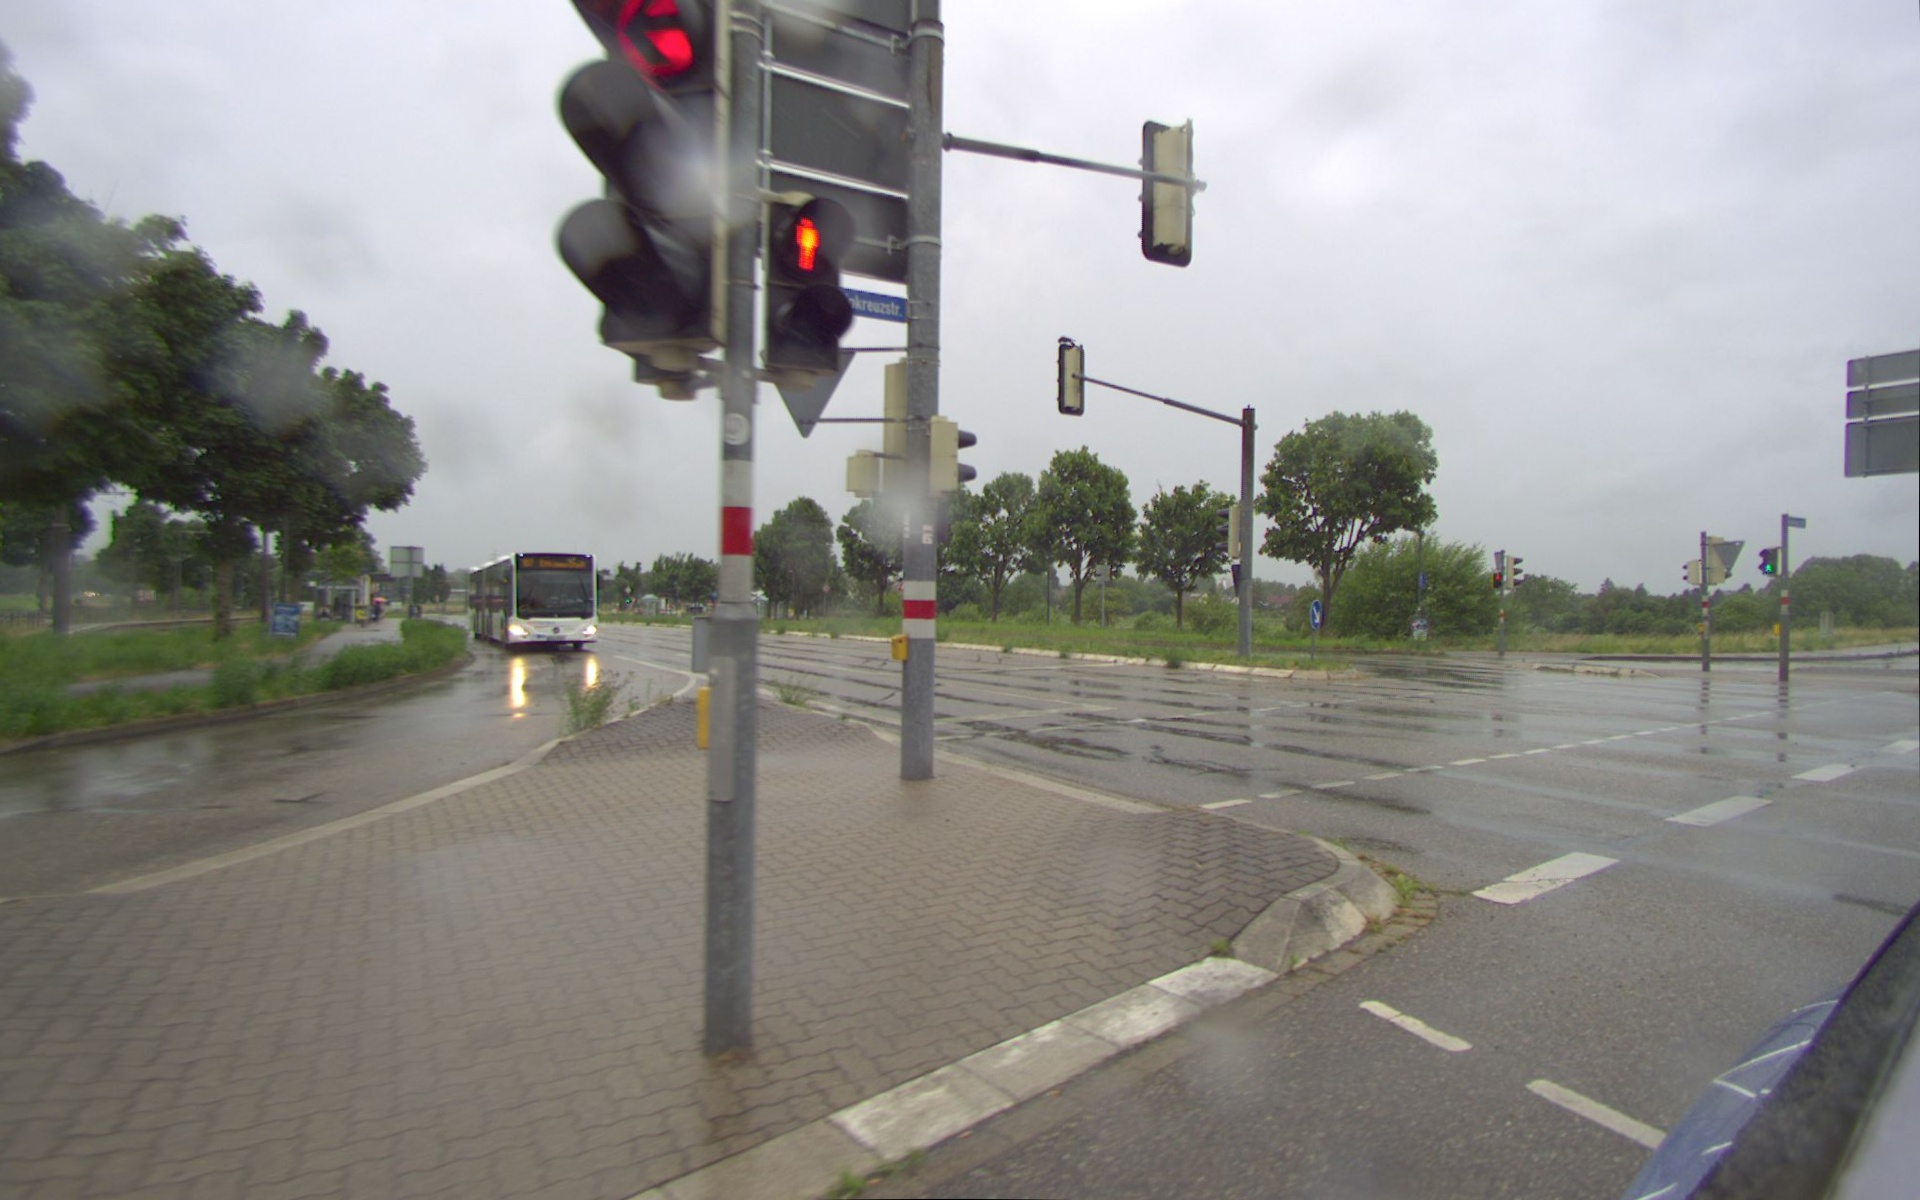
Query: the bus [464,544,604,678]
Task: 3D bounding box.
[{"bbox_3d":[-16.362,0.187,37.660,2.700,3.831,18.462,1,0,-29],"label":"bus"}]
